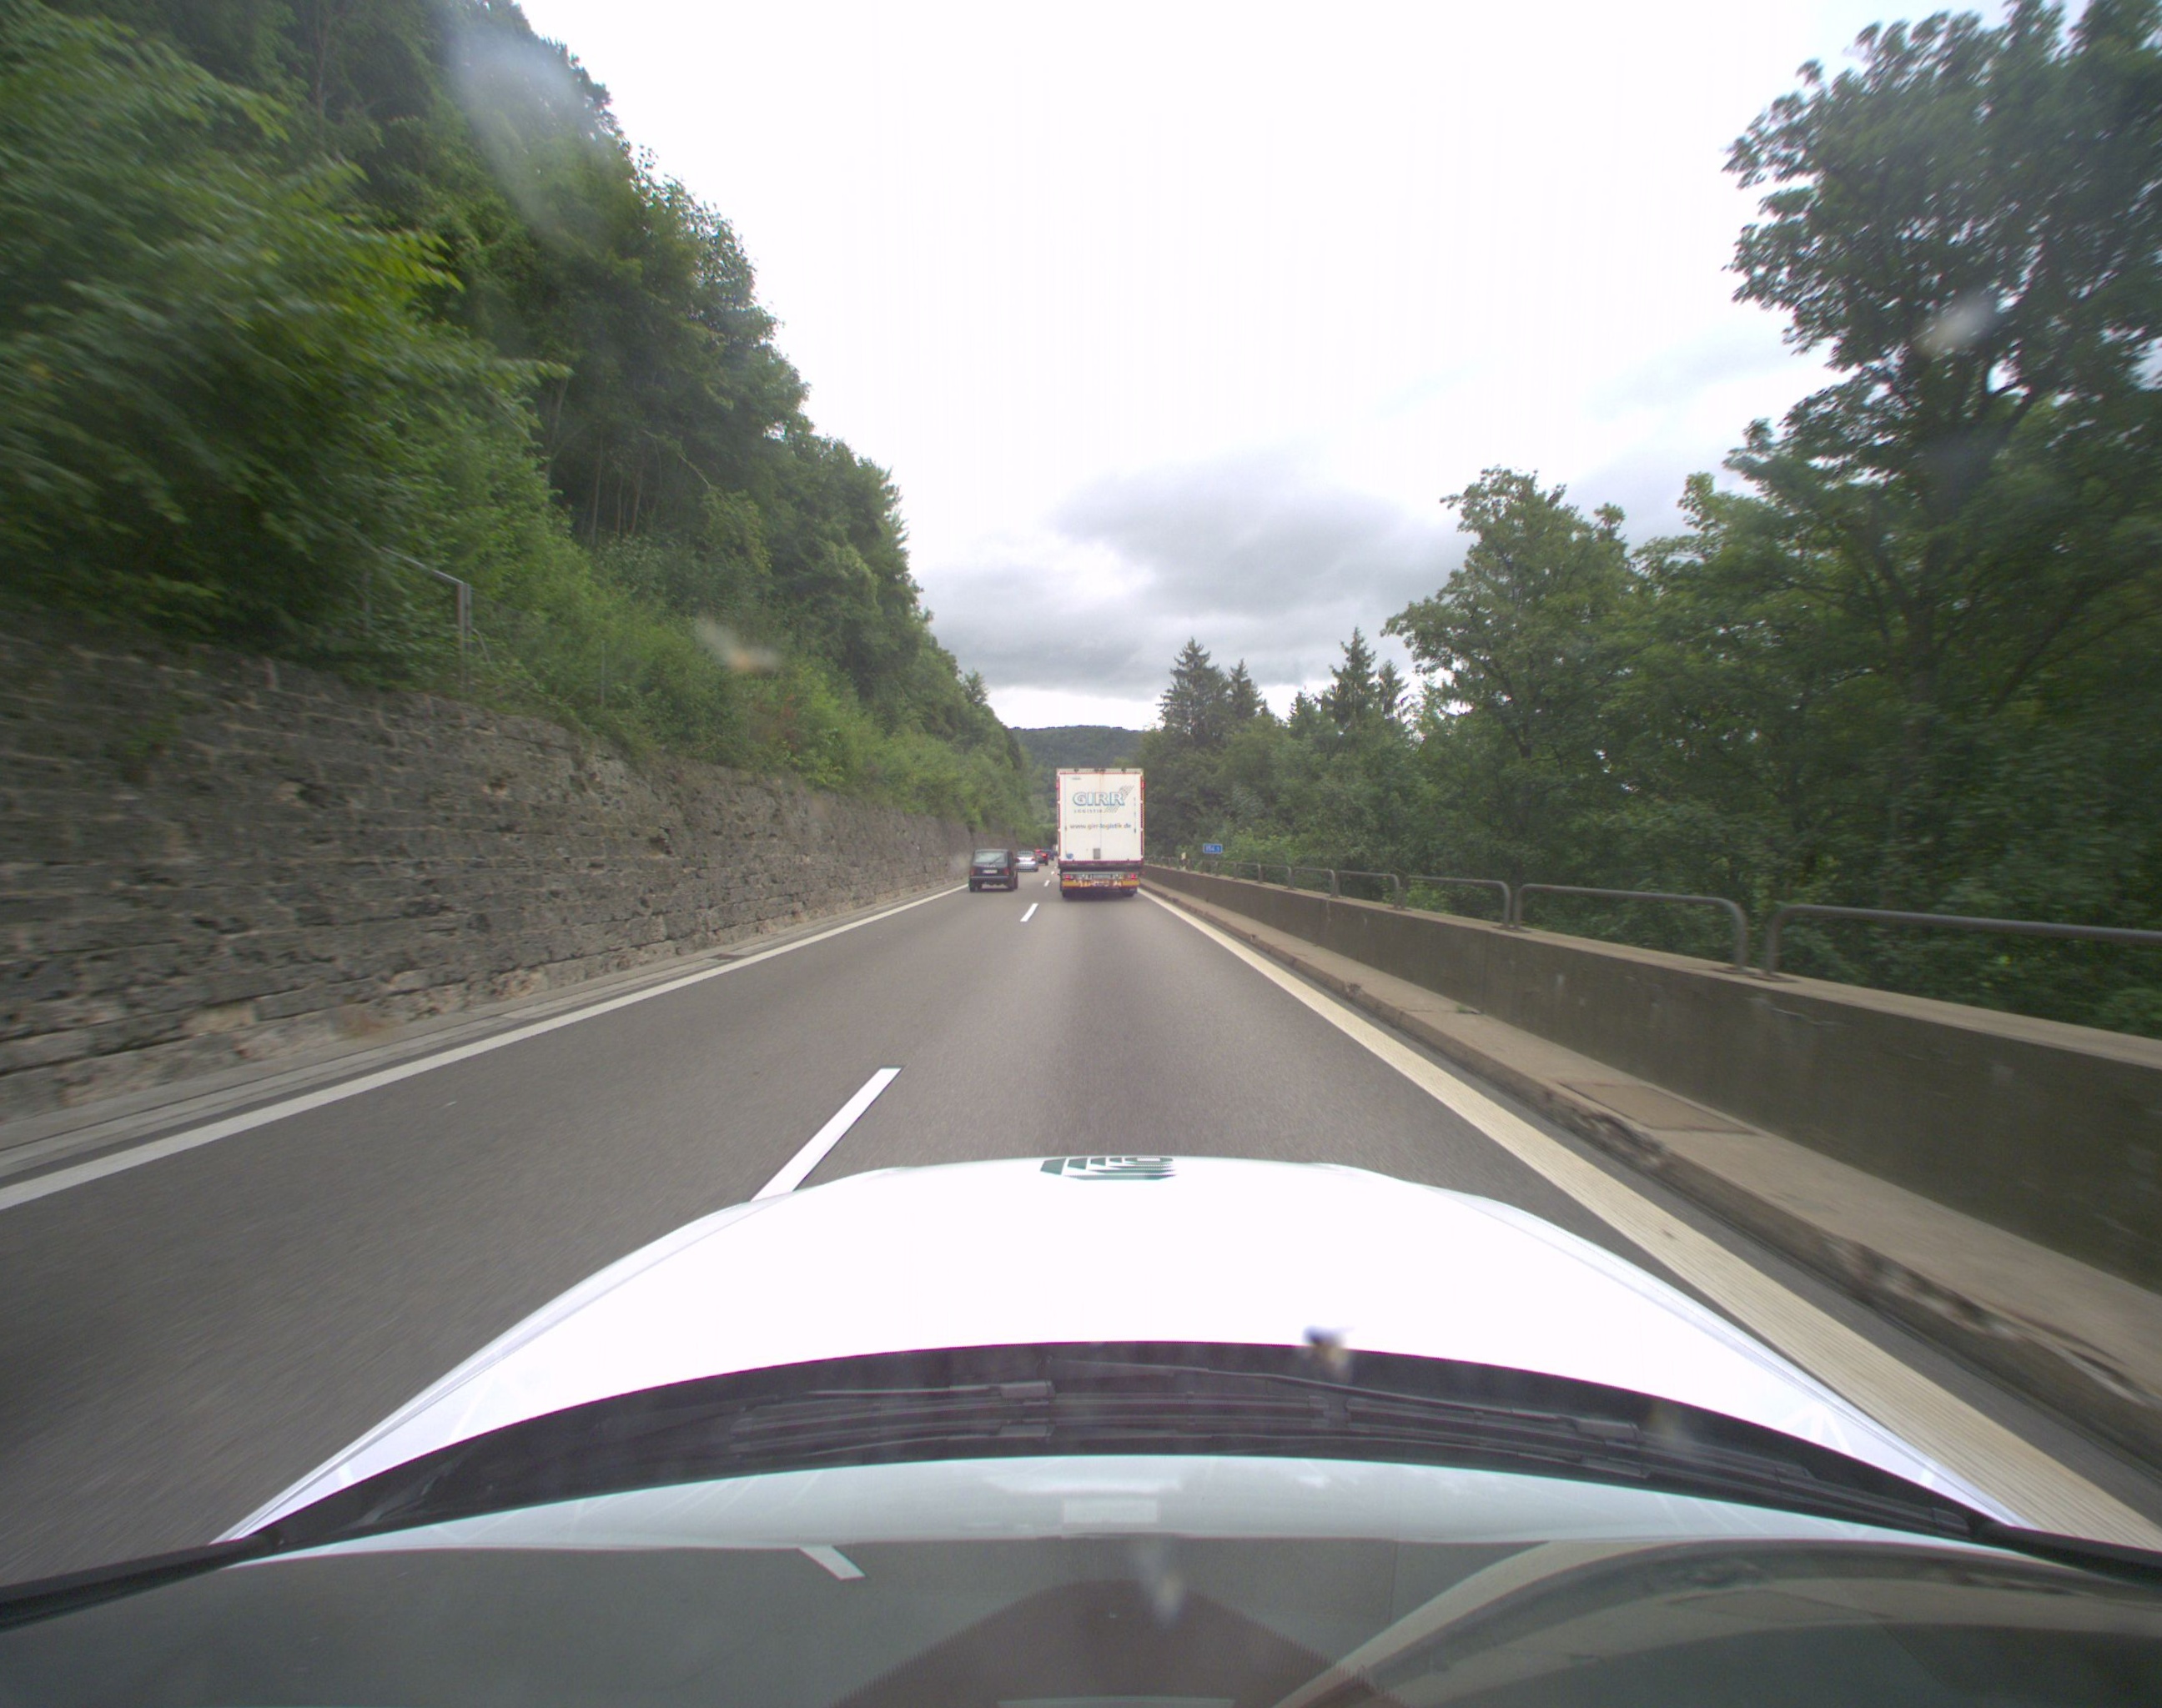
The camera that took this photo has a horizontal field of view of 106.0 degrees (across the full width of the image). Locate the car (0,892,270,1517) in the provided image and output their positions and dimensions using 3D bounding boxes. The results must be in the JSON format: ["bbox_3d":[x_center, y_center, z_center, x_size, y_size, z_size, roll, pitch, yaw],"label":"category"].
[{"bbox_3d":[-3.520,0.848,0.376,1.759,1.460,4.413,-1,0,2],"label":"car"}]

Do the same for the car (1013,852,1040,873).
[{"bbox_3d":[-3.919,0.595,59.216,1.724,1.486,3.998,0,0,-1],"label":"car"}]

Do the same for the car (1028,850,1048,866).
[{"bbox_3d":[-4.338,0.433,83.330,1.911,1.595,4.177,0,0,-1],"label":"car"}]

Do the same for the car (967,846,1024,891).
[{"bbox_3d":[-3.300,0.545,32.034,1.663,1.639,4.069,-1,0,1],"label":"car"}]

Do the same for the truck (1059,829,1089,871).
[{"bbox_3d":[-0.681,-0.316,73.224,2.479,3.571,9.302,0,0,-1],"label":"truck"}]

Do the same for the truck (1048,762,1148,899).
[{"bbox_3d":[0.658,-0.685,28.277,2.897,3.960,9.283,0,0,2],"label":"truck"}]

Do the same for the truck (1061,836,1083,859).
[{"bbox_3d":[-1.484,-1.108,143.150,3.498,3.847,11.779,0,-1,1],"label":"truck"}]

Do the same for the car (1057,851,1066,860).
[{"bbox_3d":[-4.523,0.405,187.527,1.987,2.014,4.000,0,-1,0],"label":"car"}]
